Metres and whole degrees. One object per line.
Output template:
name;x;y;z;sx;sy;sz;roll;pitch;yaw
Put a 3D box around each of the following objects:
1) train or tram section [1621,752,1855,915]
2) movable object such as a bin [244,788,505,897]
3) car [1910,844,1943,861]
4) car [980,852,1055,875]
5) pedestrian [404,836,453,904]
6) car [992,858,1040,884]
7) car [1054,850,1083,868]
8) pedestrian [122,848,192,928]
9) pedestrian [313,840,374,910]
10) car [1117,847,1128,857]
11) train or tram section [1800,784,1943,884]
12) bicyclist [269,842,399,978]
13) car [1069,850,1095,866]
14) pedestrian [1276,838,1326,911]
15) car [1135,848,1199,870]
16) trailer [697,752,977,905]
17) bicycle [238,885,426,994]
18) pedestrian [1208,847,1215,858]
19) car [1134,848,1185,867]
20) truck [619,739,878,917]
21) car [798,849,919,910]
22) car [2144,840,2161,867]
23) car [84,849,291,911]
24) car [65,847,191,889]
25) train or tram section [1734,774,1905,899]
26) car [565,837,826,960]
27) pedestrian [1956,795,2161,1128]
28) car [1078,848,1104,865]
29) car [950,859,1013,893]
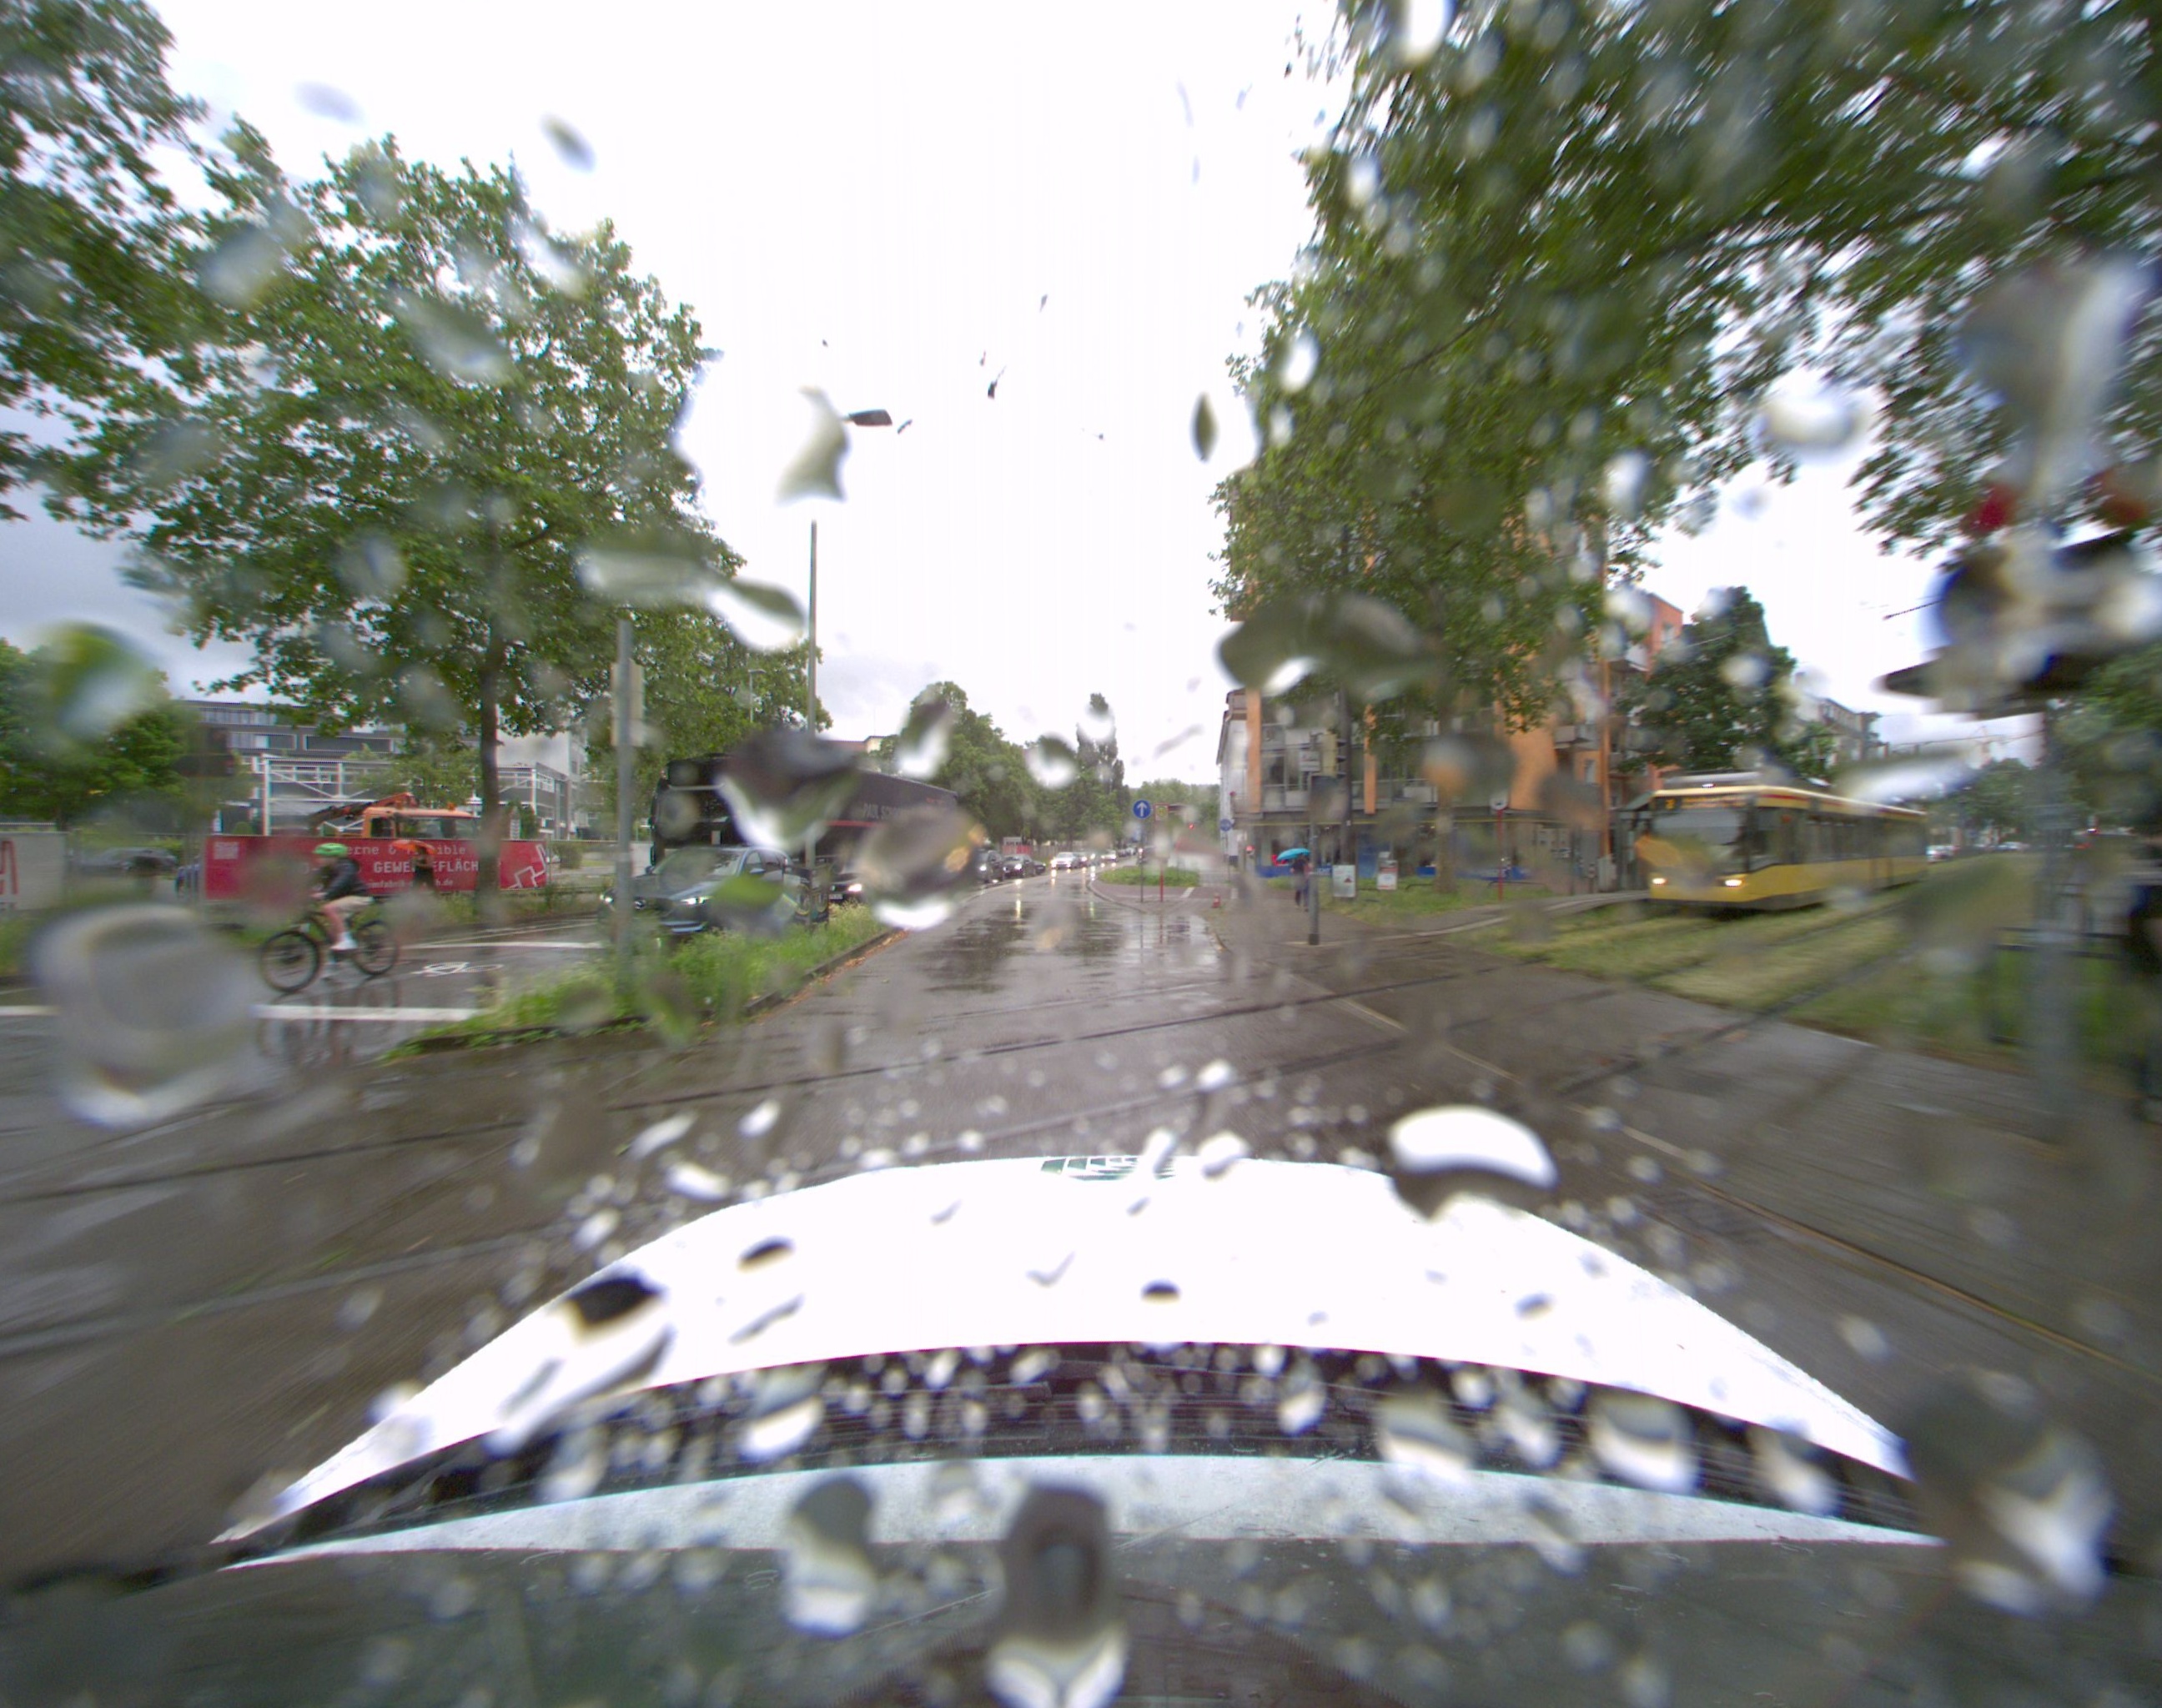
train or tram section;16.644;-0.461;20.354;8.415;3.369;2.617;0;1;-37
movable object such as a bin;-20.911;-0.343;24.154;6.701;2.930;2.788;0;1;18
car;75.655;-0.156;72.886;4.022;1.533;1.976;-1;1;-43
car;-4.254;0.605;53.953;4.865;1.454;2.099;0;1;40
pedestrian;-16.241;0.377;20.297;0.912;1.649;0.745;-1;0;-38
car;-3.767;0.949;47.621;1.716;1.361;4.350;-1;1;10
car;-1.028;0.409;67.995;1.765;1.403;4.839;1;0;7
pedestrian;-18.006;0.639;15.869;0.634;1.515;0.776;-1;0;30
pedestrian;-17.208;0.479;19.015;0.634;1.581;0.886;-1;0;30
car;7.091;-0.338;139.316;1.769;1.529;4.002;1;2;1
train or tram section;30.511;-0.708;31.229;10.035;3.351;2.616;0;1;-38
bicyclist;-8.504;0.597;9.315;0.578;1.461;1.009;-1;0;-5
car;0.106;0.336;75.212;1.768;1.420;4.276;-1;1;9
pedestrian;5.811;0.514;21.630;1.163;1.865;1.389;0;0;10
car;6.273;0.353;59.291;4.507;1.470;1.988;-1;0;8
trailer;-7.519;-0.750;29.225;3.422;4.048;15.088;-1;1;9
bicycle;-8.493;0.921;9.356;0.531;1.024;1.871;-1;0;-5
pedestrian;21.154;-0.252;132.202;1.056;1.811;1.097;0;0;10
car;6.599;0.276;68.342;4.168;1.568;1.892;0;0;6
truck;-8.587;-0.646;22.290;3.430;4.078;6.991;0;1;8
car;-5.622;0.584;21.112;1.690;1.373;4.106;0;1;5
car;71.077;-0.046;53.087;4.020;1.673;1.977;-1;0;-40
car;-21.113;0.564;19.282;3.626;1.321;1.851;1;1;16
car;-41.940;0.558;36.007;2.004;1.736;4.385;0;1;-26
train or tram section;23.297;-0.506;25.509;8.416;3.351;2.616;0;1;-38
car;-6.460;0.597;14.465;2.065;1.682;4.934;2;2;3
pedestrian;6.226;0.572;4.730;1.037;1.788;1.230;0;0;-16
car;1.066;0.198;82.004;1.902;1.639;4.835;1;0;10
car;-4.970;1.122;41.242;1.856;1.619;4.814;-1;-1;9
